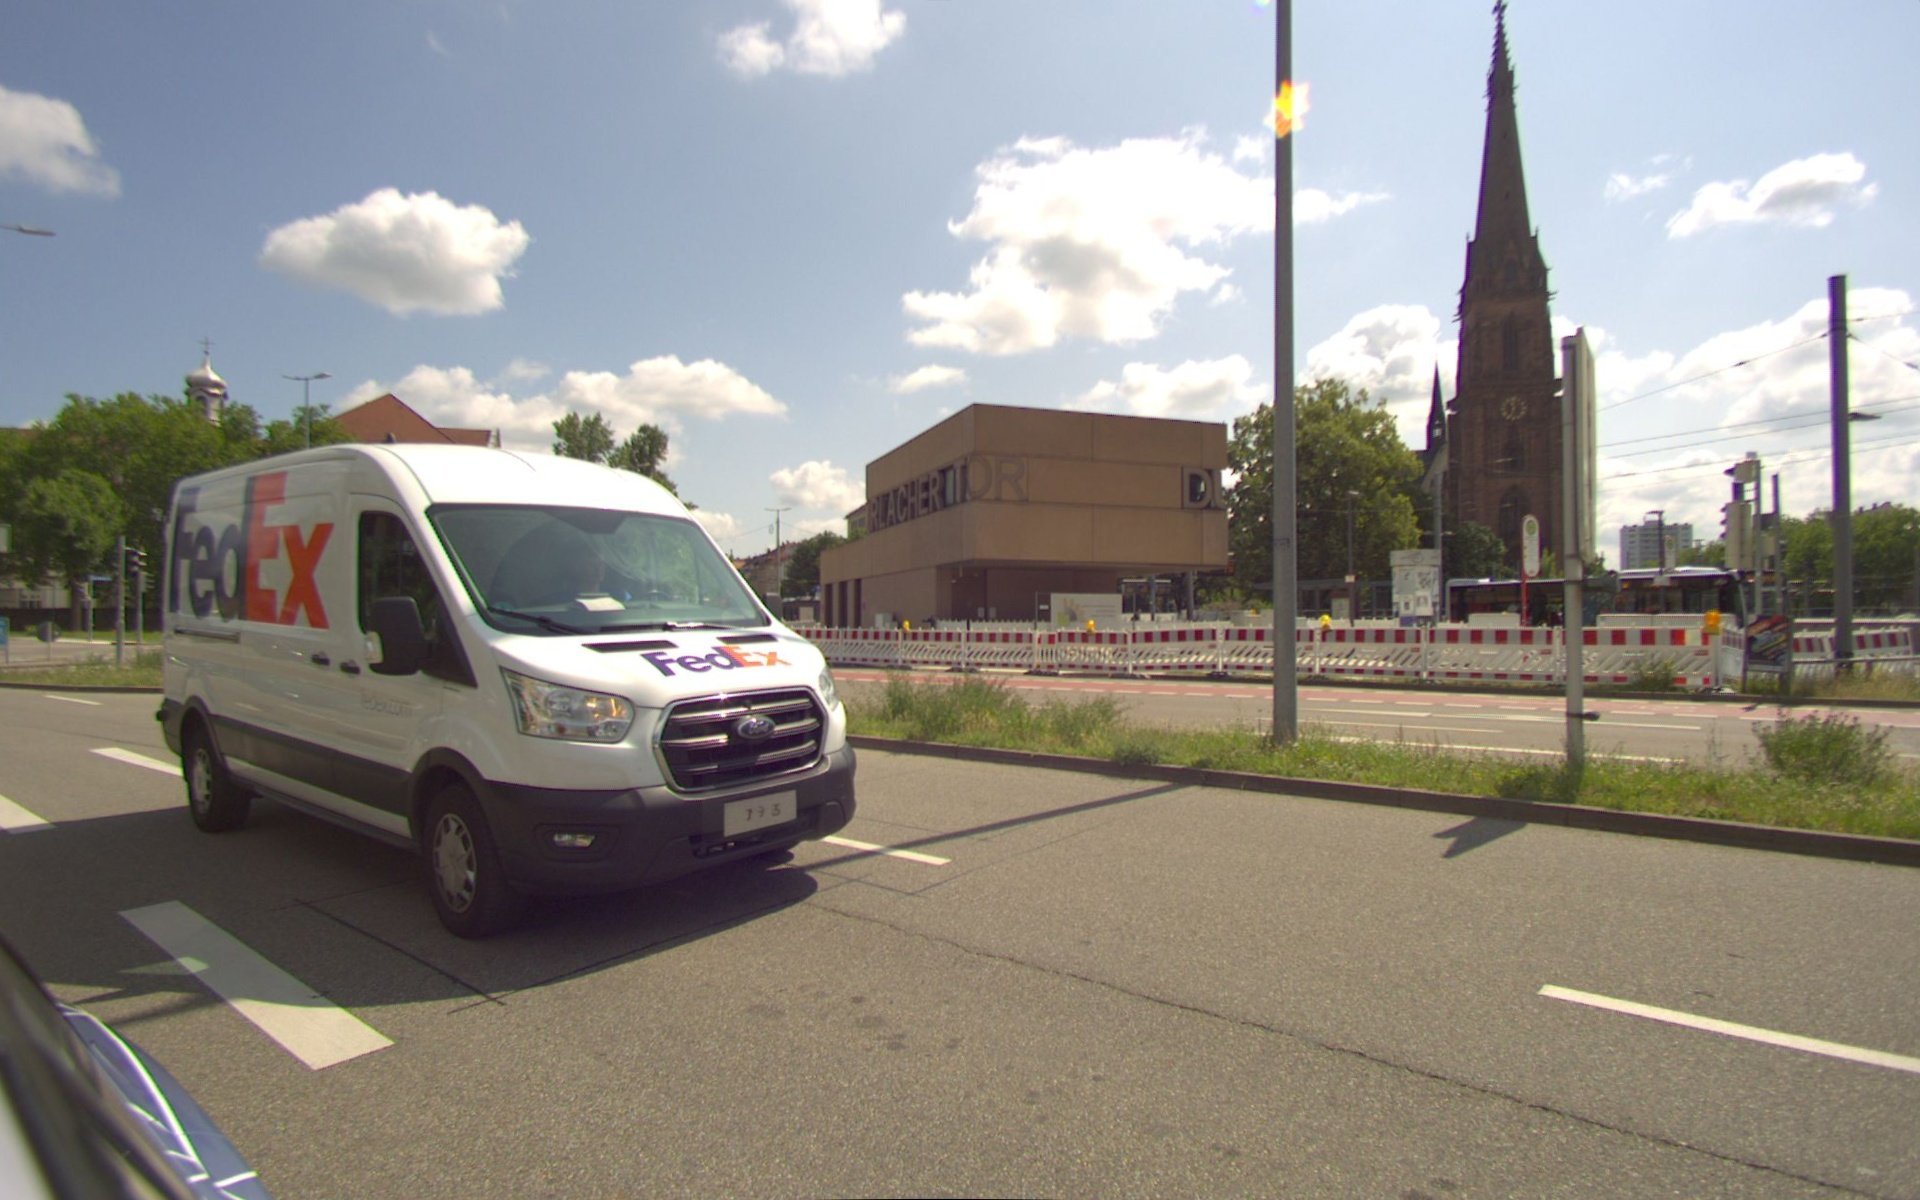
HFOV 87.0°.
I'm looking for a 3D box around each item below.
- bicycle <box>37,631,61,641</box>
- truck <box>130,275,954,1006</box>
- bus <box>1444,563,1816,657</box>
[{"bbox_3d":[-71.658,2.817,79.616,1.443,0.795,0.399,0,-1,-8],"label":"bicycle"},{"bbox_3d":[-3.012,0.166,6.337,5.908,2.660,2.117,-1,0,38],"label":"truck"},{"bbox_3d":[23.731,0.295,37.322,2.550,2.881,12.307,0,0,-20],"label":"bus"}]
